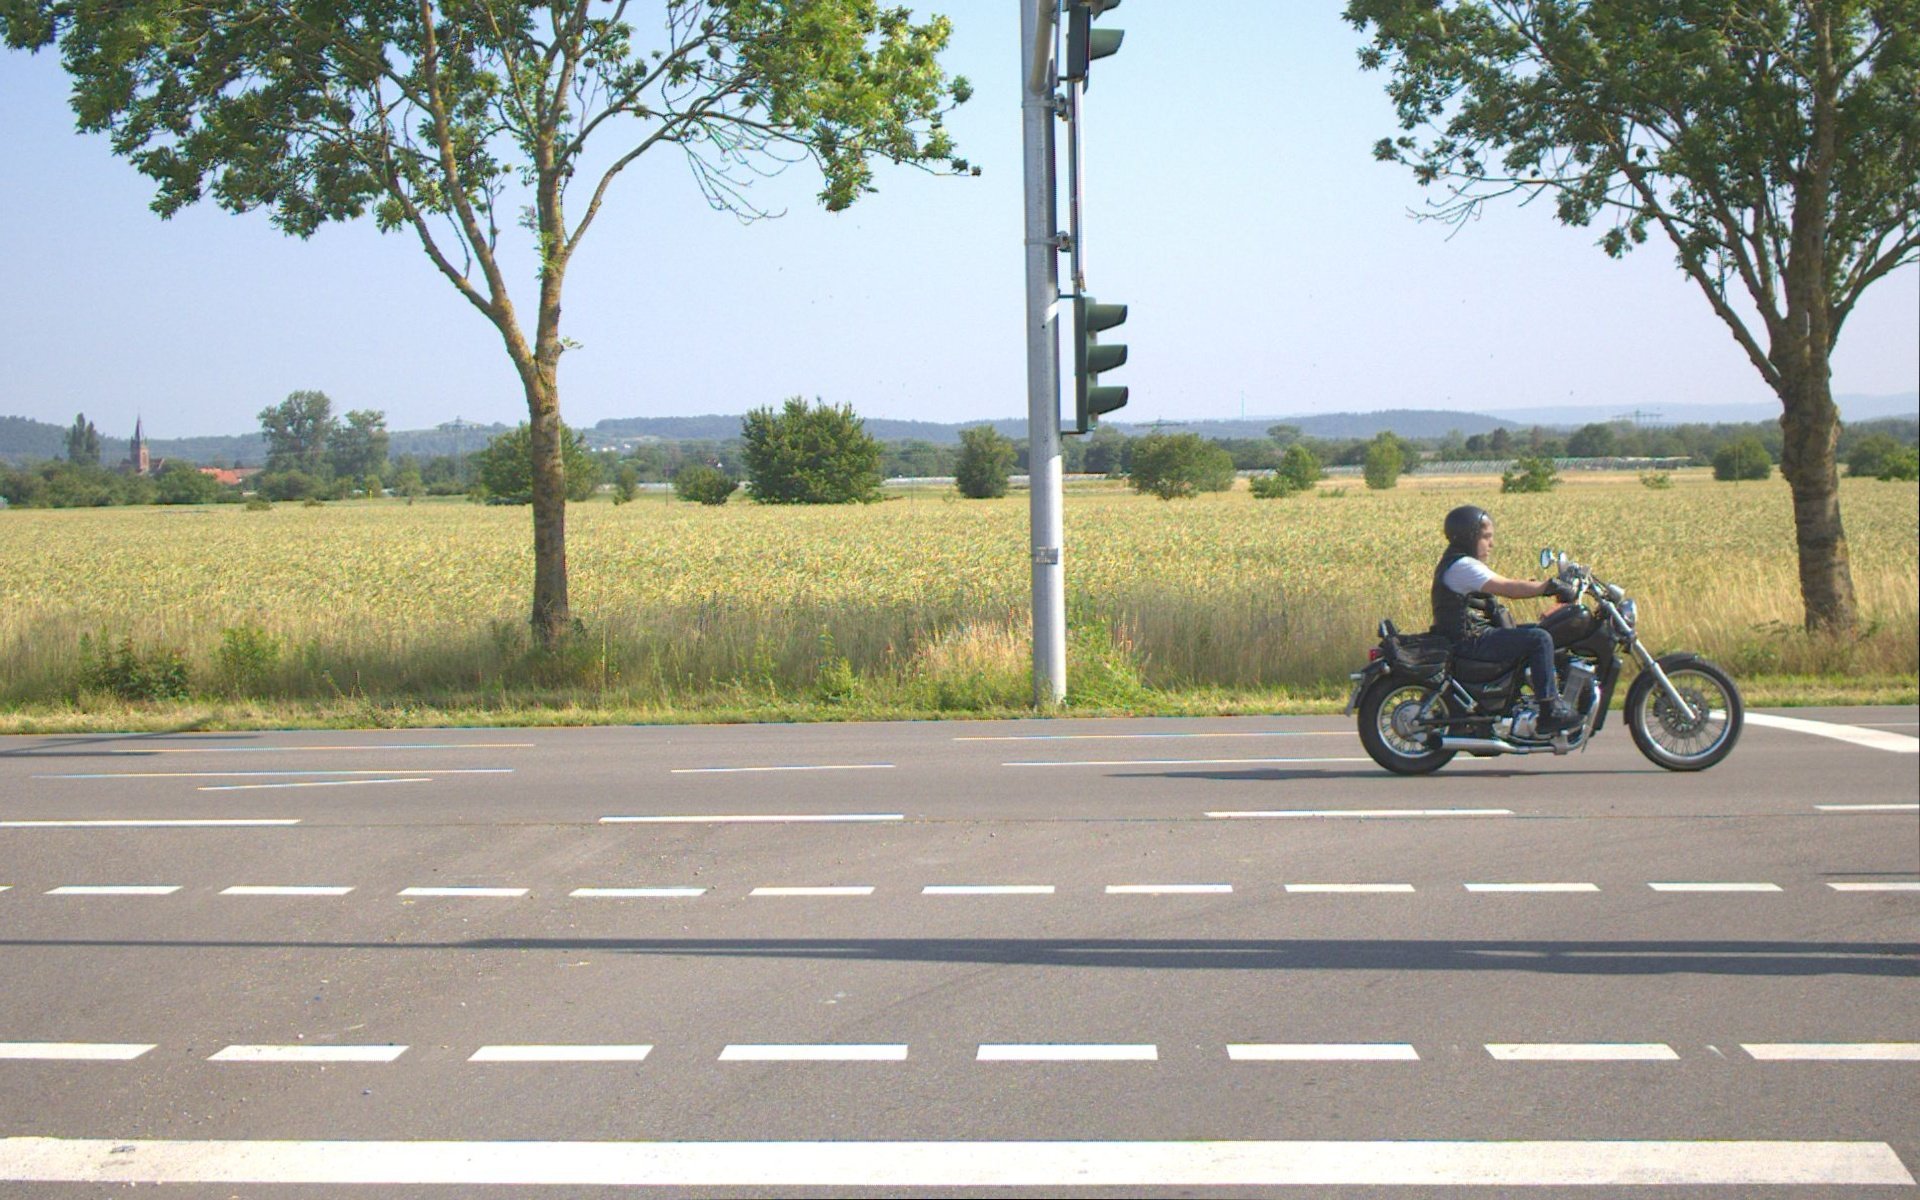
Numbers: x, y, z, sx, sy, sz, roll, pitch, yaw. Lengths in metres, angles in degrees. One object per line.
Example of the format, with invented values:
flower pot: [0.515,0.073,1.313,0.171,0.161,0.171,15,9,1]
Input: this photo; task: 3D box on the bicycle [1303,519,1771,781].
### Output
bicycle: [3.263,0.271,19.553,2.490,1.392,0.732,-1,1,-5]

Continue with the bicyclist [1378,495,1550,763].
bicyclist: [2.856,0.157,19.534,0.808,1.484,0.757,1,1,-3]
